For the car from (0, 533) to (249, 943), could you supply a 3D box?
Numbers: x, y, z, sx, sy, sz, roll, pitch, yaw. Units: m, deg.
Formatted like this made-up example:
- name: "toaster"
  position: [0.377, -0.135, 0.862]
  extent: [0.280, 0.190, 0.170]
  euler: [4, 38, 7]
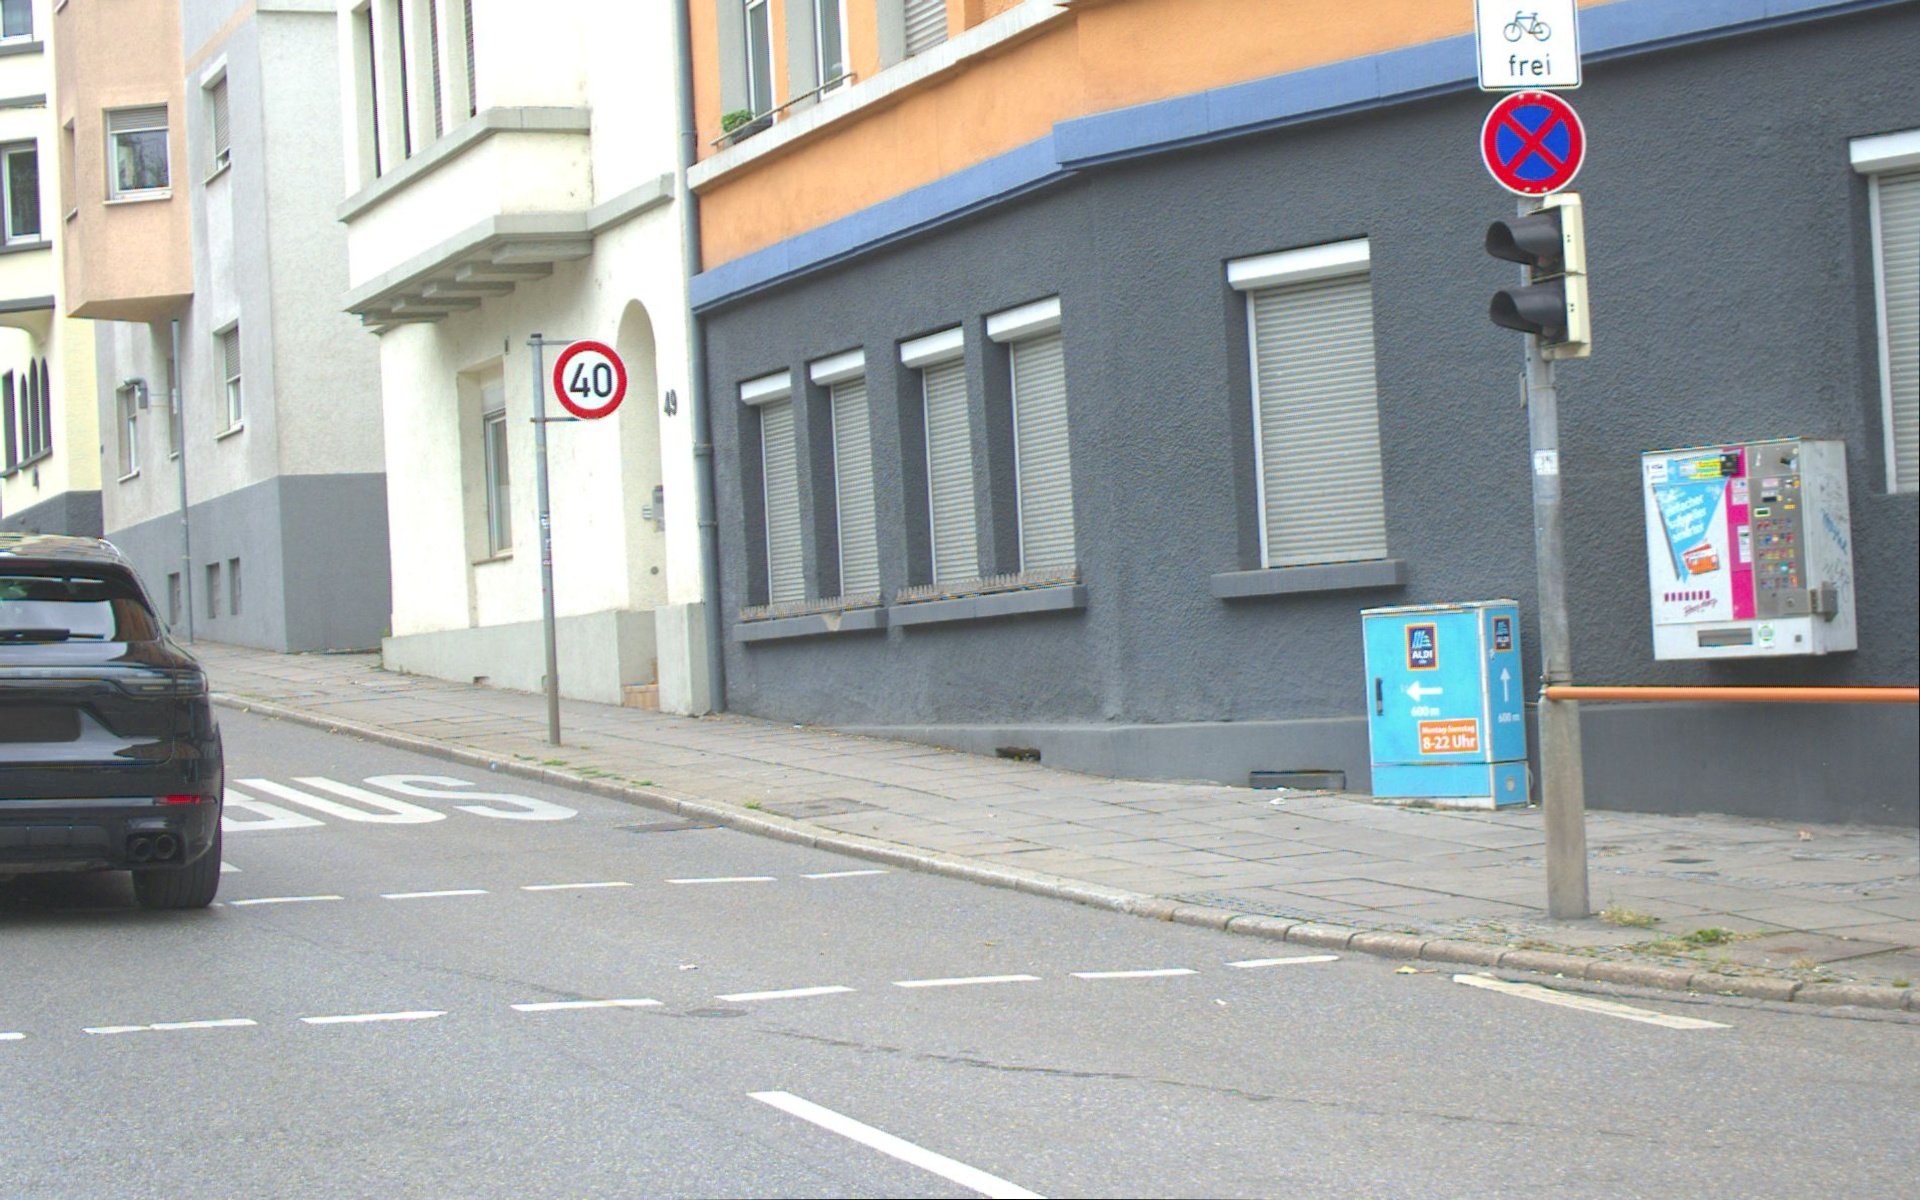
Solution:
- name: "car"
  position: [-4.659, 0.557, 15.784]
  extent: [2.023, 1.636, 4.357]
  euler: [-1, 0, -21]

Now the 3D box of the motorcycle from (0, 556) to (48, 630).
- name: "motorcycle"
  position: [-15.654, -0.119, 56.959]
  extent: [0.537, 1.152, 2.227]
  euler: [-6, 3, -26]
